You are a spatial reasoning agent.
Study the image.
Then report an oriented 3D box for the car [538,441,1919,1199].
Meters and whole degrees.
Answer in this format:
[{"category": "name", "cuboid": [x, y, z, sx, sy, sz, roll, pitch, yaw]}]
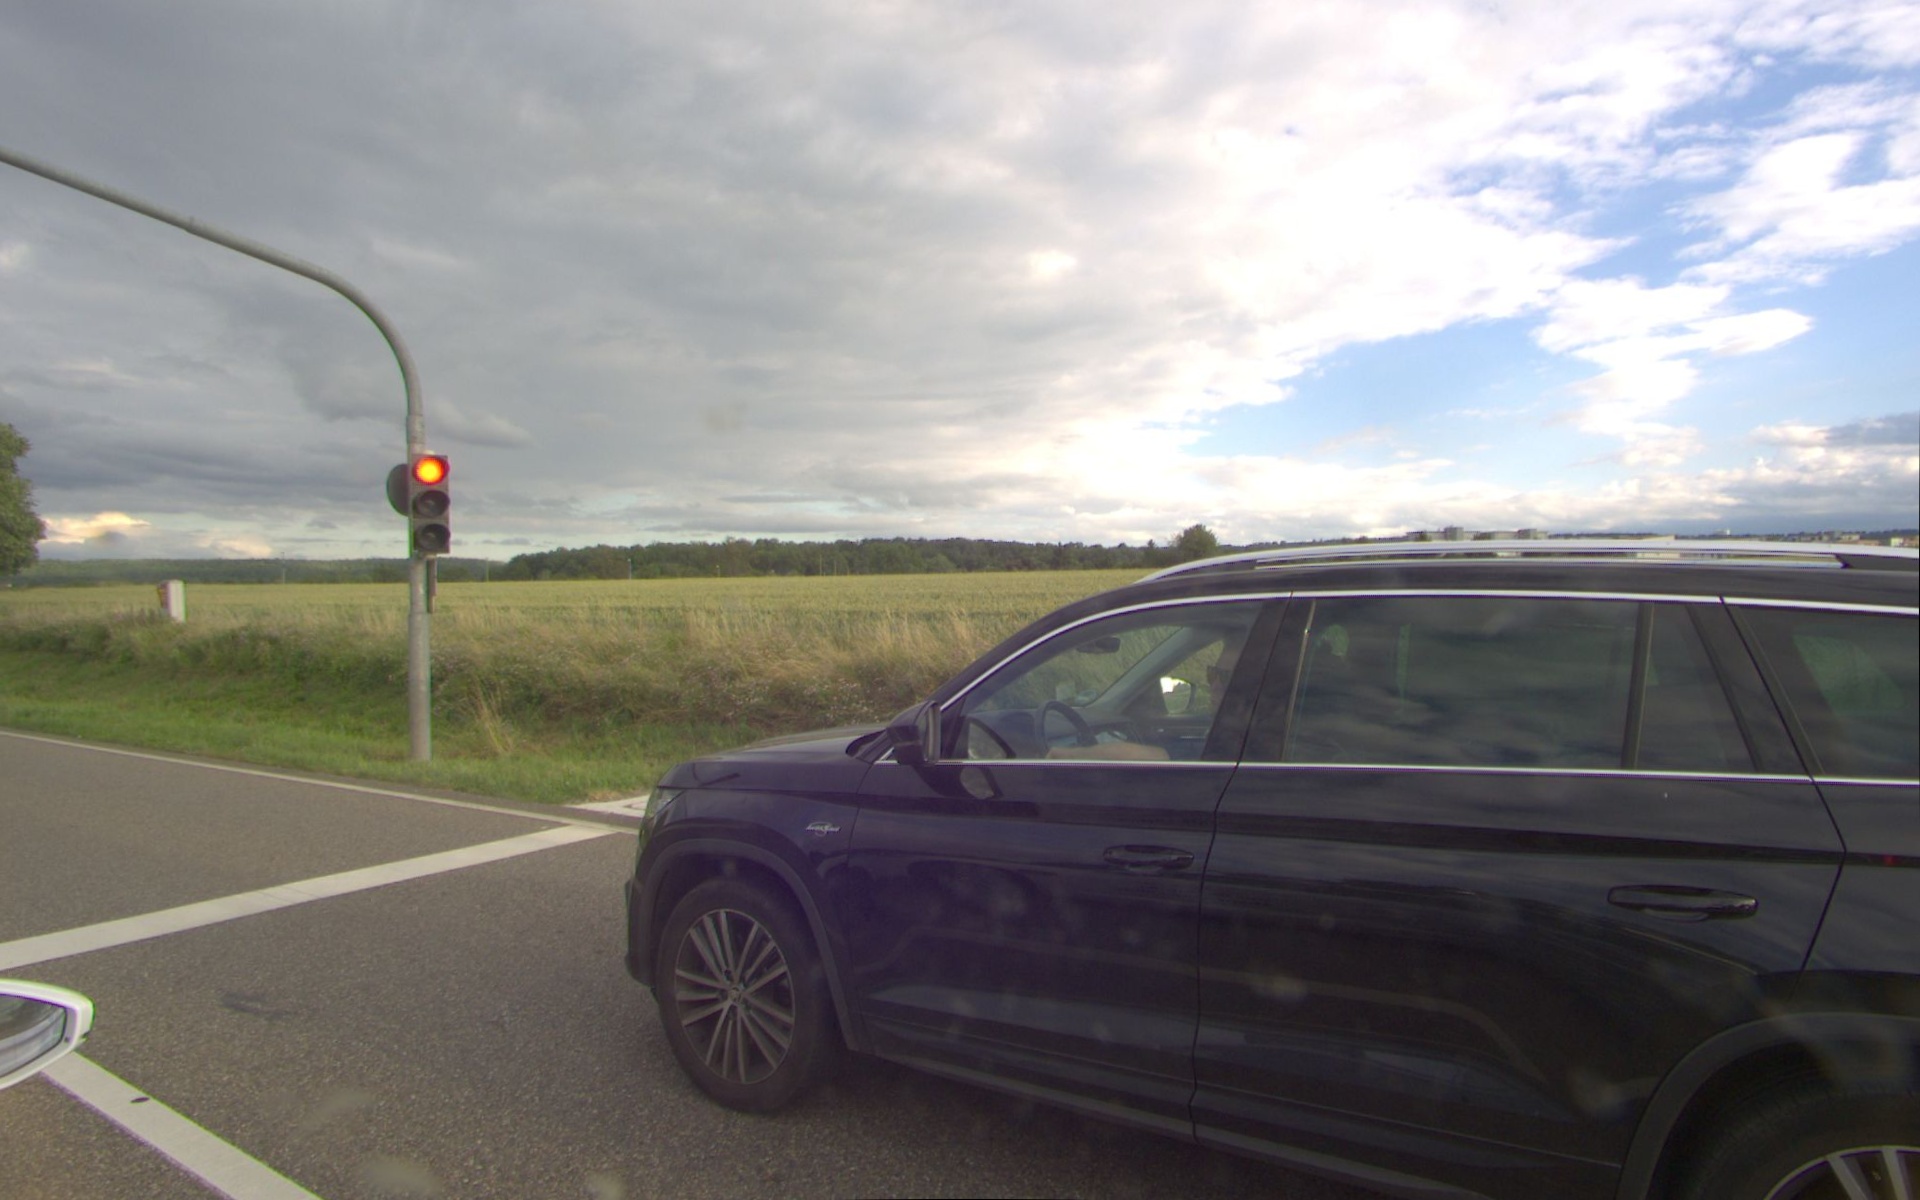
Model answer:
[{"category": "car", "cuboid": [0.899, 0.670, 3.080, 4.492, 1.730, 1.833, -1, -2, 32]}]
